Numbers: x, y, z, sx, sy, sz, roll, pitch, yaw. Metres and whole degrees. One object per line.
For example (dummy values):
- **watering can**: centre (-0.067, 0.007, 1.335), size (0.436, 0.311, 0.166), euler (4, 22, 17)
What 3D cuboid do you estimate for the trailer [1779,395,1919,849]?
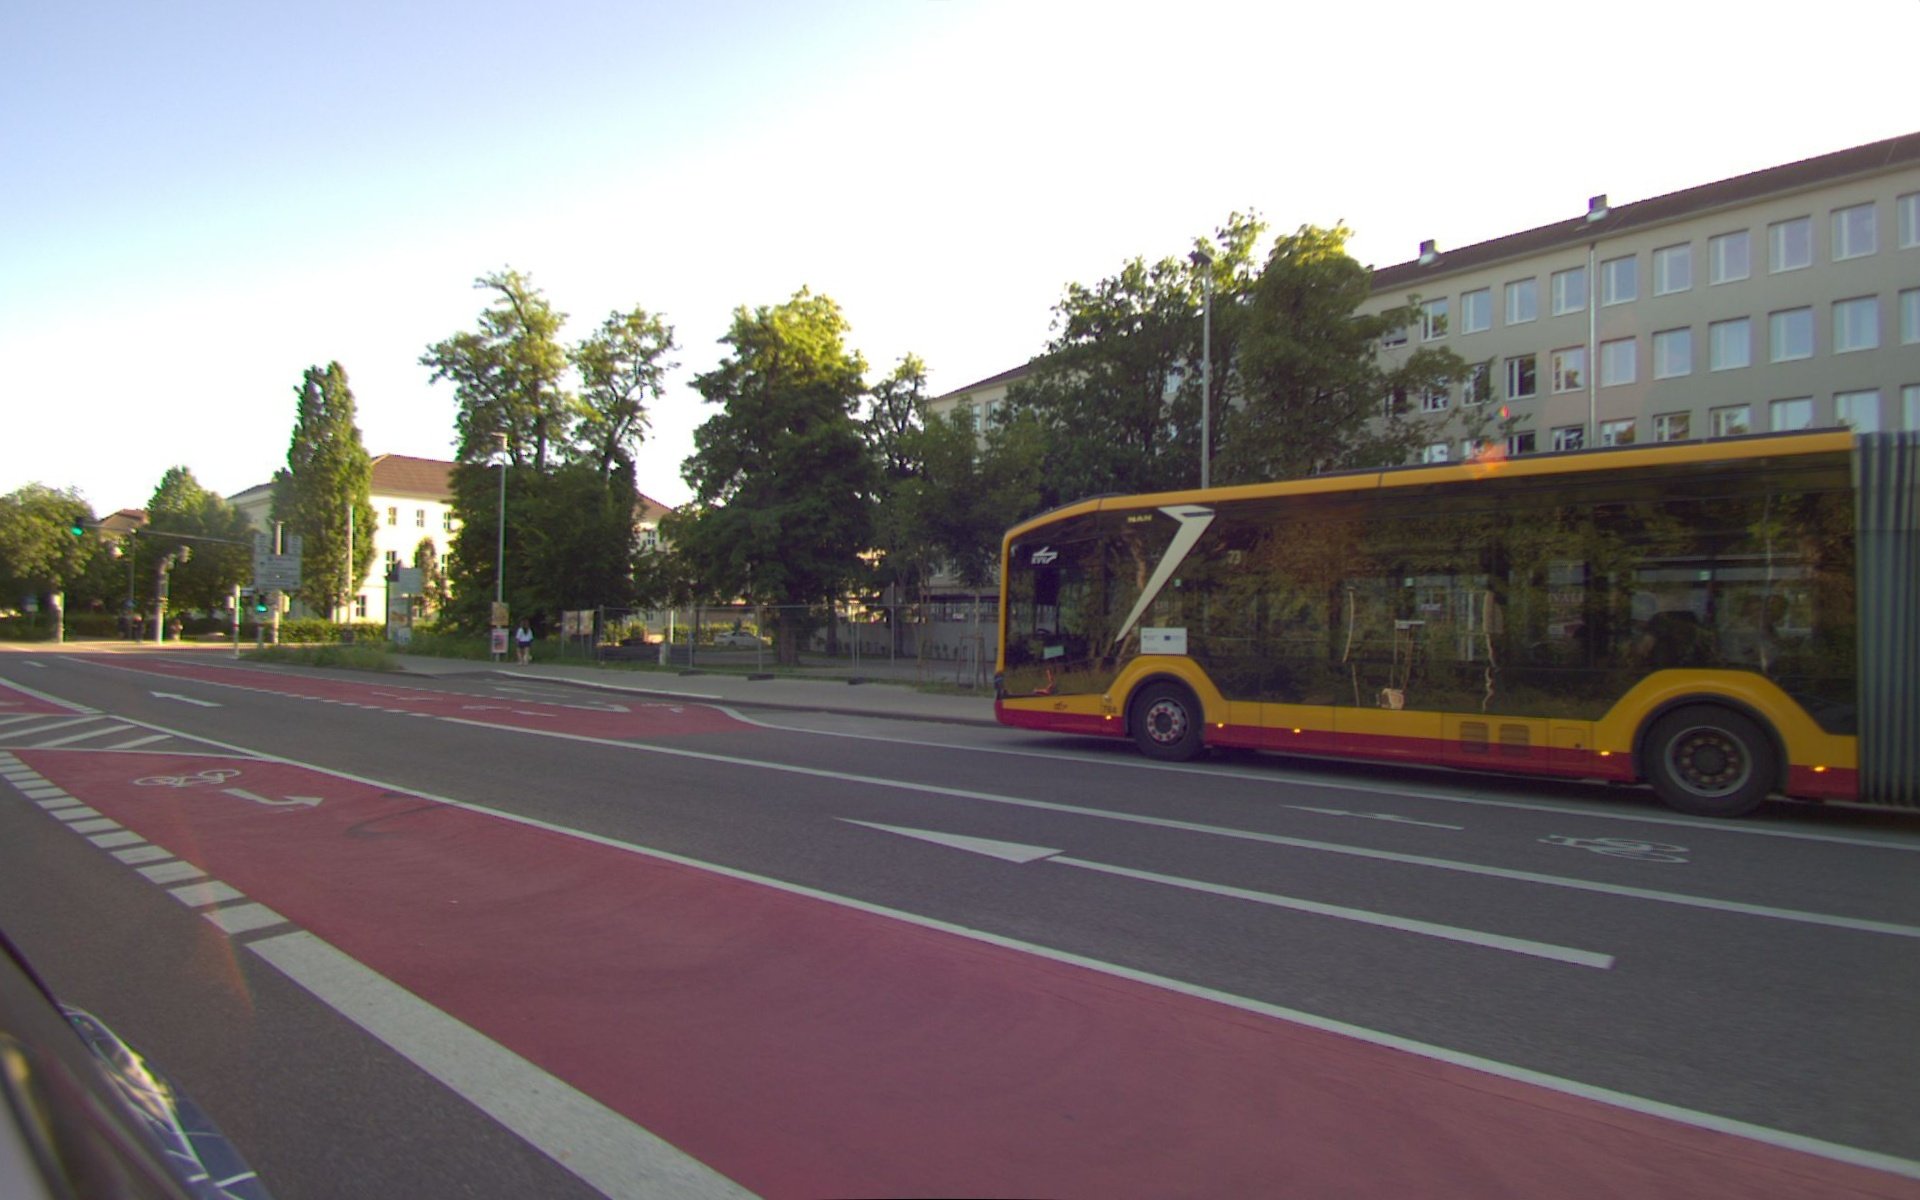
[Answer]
- **trailer**: centre (10.976, 0.129, 6.061), size (9.357, 3.381, 2.825), euler (-1, 0, 41)

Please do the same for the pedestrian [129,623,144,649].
- **pedestrian**: centre (-55.586, 2.436, 68.322), size (0.681, 1.694, 0.681), euler (2, -3, -42)

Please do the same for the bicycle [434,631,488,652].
- **bicycle**: centre (-27.975, 2.328, 56.748), size (0.980, 1.144, 2.542), euler (-1, -3, 43)

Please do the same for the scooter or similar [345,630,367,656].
- **scooter or similar**: centre (-30.242, 2.144, 50.712), size (0.683, 1.304, 1.501), euler (1, -2, -22)

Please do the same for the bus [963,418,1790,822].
- **bus**: centre (4.214, 0.244, 11.958), size (8.593, 3.221, 2.811), euler (-1, -2, 41)

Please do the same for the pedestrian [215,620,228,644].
- **pedestrian**: centre (-55.618, 2.395, 76.233), size (0.681, 1.830, 0.681), euler (2, -3, -42)

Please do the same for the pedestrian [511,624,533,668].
- **pedestrian**: centre (-15.455, 1.627, 35.685), size (0.570, 1.545, 0.447), euler (-1, -2, 35)

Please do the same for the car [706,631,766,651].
- **car**: centre (-17.807, 3.276, 80.397), size (4.194, 1.551, 2.071), euler (2, -3, -43)

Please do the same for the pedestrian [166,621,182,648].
- **pedestrian**: centre (-53.262, 2.318, 68.563), size (0.734, 1.830, 0.727), euler (2, -3, -42)
